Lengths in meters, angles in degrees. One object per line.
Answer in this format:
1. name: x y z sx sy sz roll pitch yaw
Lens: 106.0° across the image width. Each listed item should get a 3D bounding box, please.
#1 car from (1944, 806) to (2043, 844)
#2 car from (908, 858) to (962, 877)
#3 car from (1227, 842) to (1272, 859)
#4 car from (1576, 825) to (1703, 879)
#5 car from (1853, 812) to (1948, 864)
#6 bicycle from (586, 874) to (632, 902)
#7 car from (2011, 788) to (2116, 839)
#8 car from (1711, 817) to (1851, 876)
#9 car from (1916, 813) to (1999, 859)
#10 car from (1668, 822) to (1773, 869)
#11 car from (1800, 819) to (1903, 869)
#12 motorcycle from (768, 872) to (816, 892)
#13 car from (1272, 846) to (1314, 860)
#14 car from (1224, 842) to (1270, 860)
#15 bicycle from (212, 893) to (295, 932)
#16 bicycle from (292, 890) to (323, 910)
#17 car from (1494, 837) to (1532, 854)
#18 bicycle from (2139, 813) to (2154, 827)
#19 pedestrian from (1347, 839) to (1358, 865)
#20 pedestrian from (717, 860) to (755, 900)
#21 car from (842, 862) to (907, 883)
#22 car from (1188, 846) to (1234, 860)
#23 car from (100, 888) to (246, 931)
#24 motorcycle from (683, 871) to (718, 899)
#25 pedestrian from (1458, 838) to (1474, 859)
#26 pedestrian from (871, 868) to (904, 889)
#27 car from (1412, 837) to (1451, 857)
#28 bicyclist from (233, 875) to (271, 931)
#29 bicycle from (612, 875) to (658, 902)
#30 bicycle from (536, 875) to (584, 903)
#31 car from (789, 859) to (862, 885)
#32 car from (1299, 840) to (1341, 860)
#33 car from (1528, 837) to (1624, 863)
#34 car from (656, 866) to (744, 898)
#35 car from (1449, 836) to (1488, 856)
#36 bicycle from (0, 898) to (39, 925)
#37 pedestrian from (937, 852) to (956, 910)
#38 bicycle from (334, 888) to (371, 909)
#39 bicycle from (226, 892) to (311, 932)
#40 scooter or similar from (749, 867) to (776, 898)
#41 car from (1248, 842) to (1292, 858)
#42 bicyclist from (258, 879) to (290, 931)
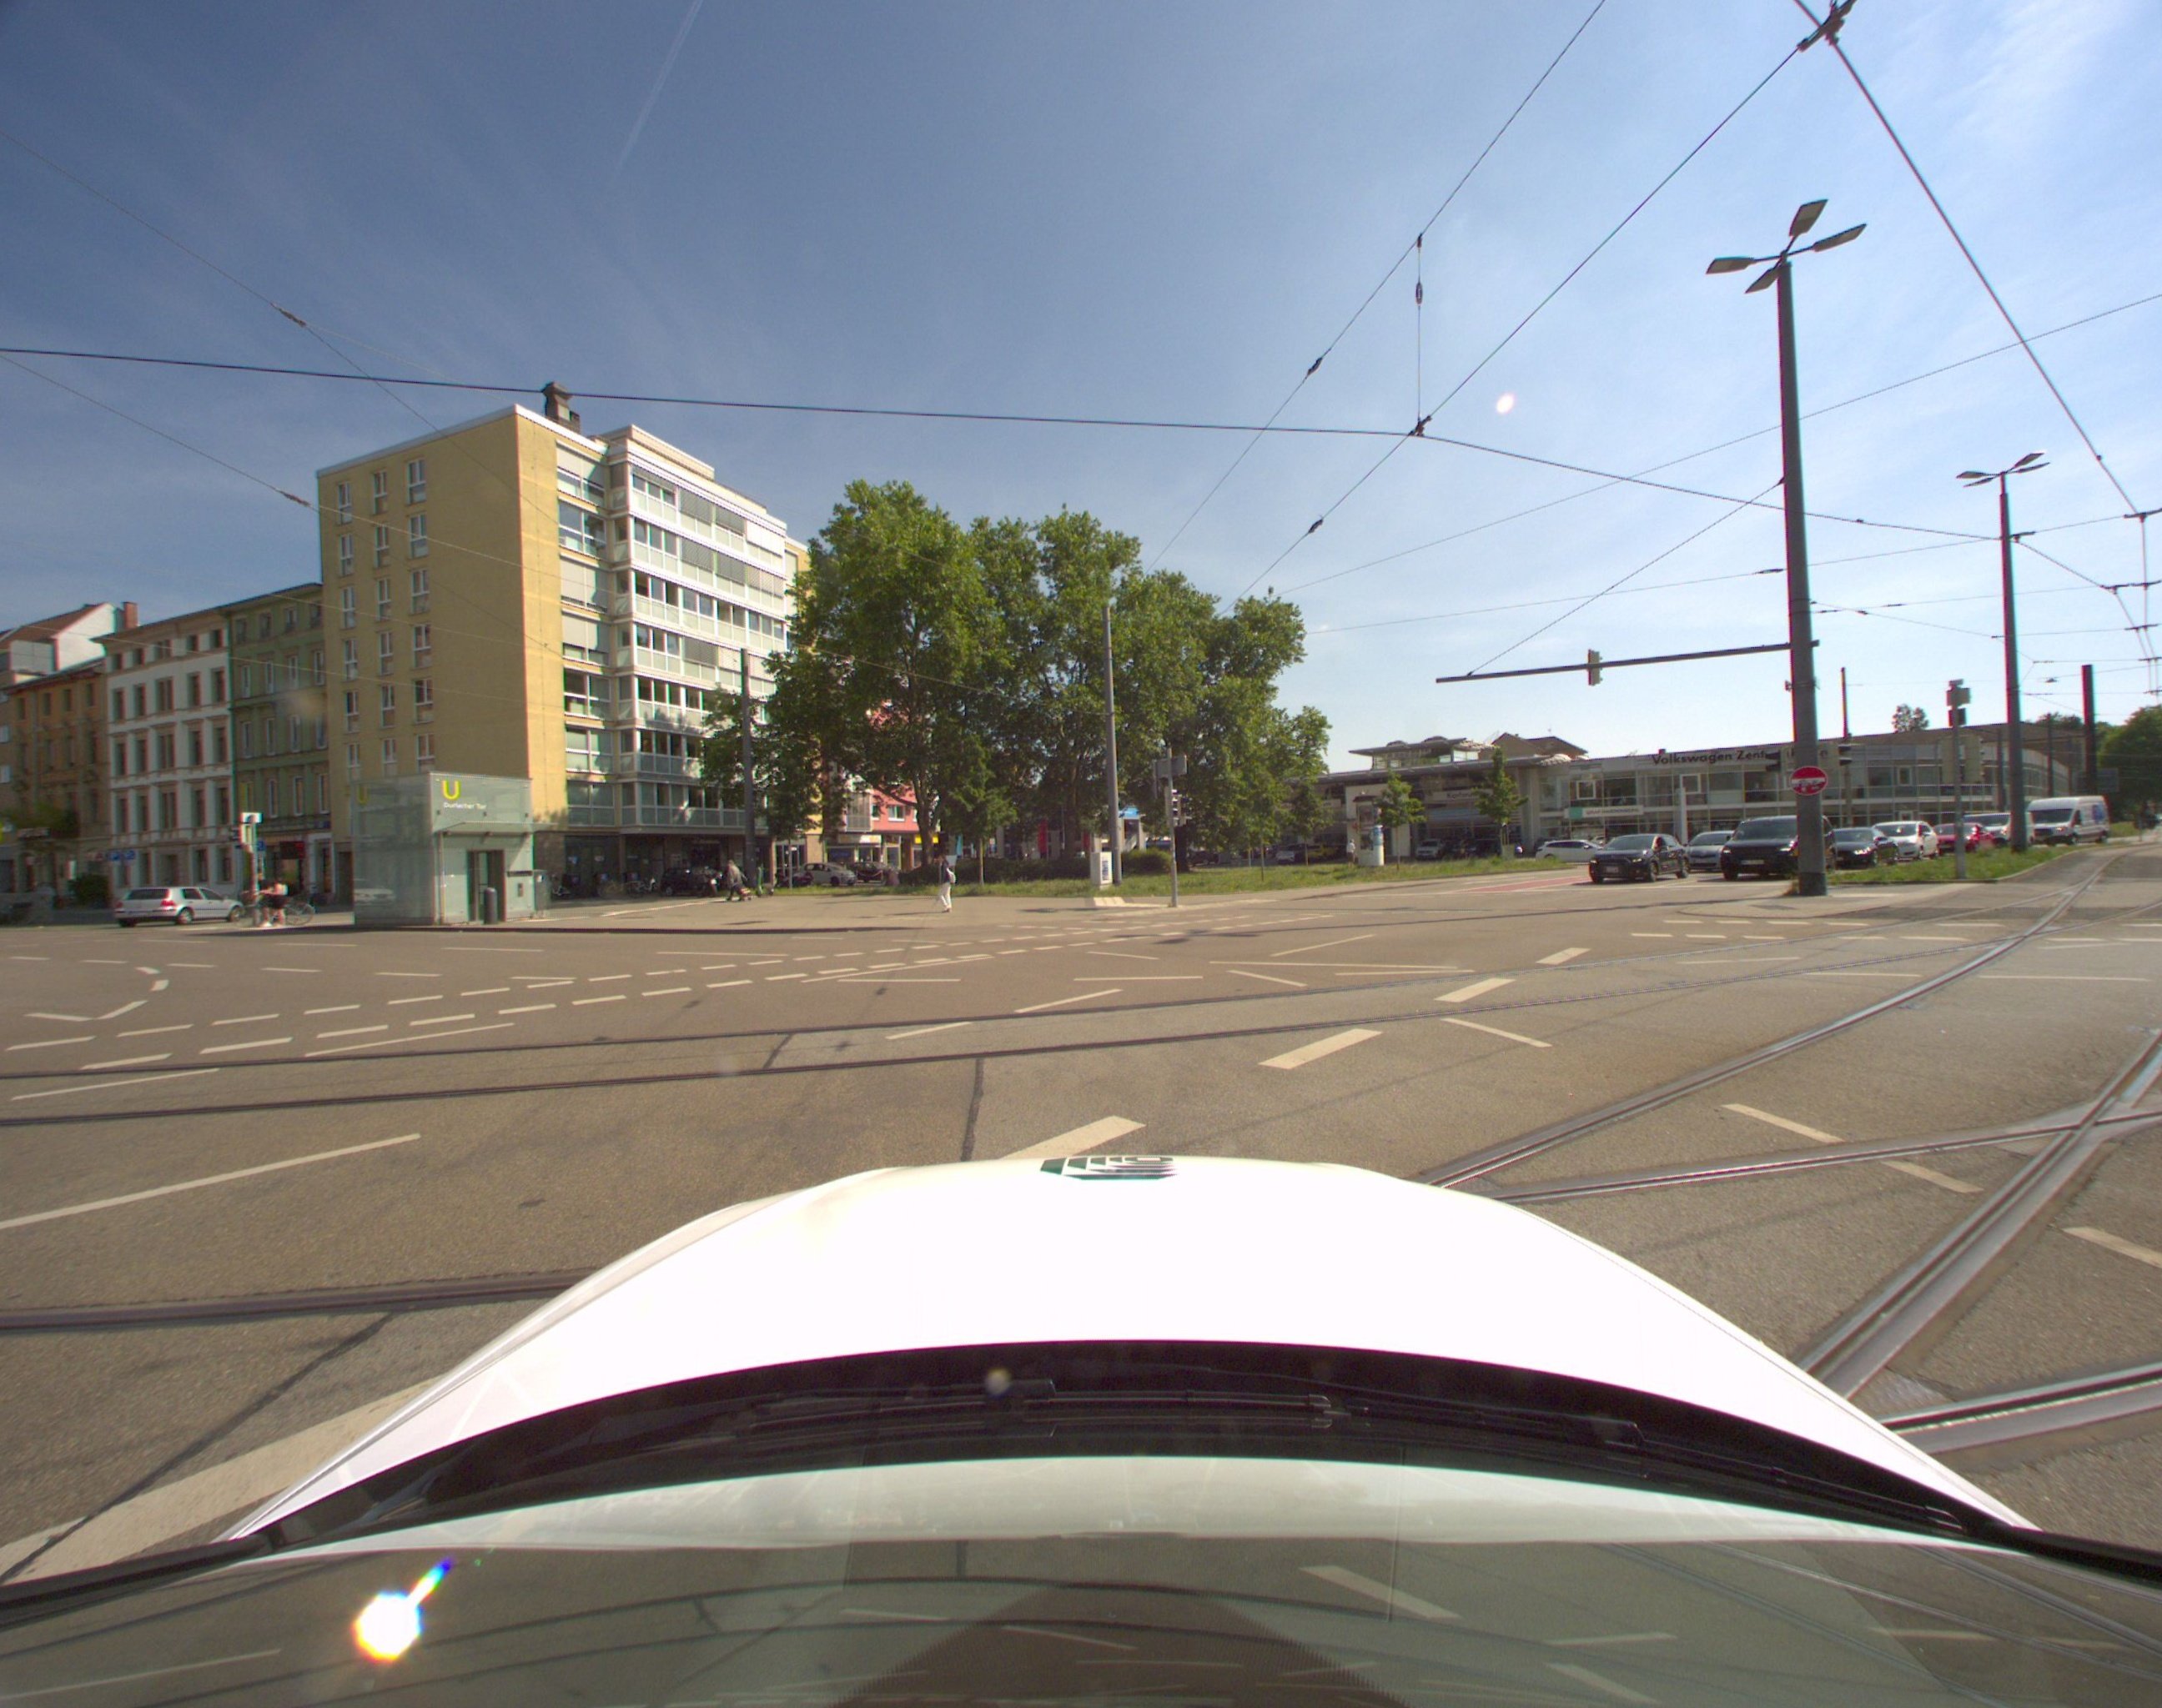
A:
1. car: 45.330 -1.445 40.423 5.043 1.680 2.172 -2 0 -29
2. car: -11.082 0.979 61.885 3.690 1.340 1.753 0 1 22
3. car: 17.128 -0.338 82.822 3.948 1.508 2.013 -2 0 37
4. car: 17.708 -0.054 25.776 4.227 1.588 1.878 -1 -1 -34
5. car: 32.606 -0.612 32.374 4.217 1.917 1.880 -1 -1 -34
6. bicycle: -22.150 1.573 38.237 0.576 1.219 1.768 -2 0 32
7. car: 52.615 -2.103 43.613 5.884 2.575 2.198 0 1 -25
8. car: 20.744 -0.195 24.086 4.735 1.588 1.946 -1 -1 -34
9. car: 38.780 -0.773 36.009 4.217 1.917 1.880 -1 -1 -34
10. car: 23.494 -0.298 29.894 4.016 1.588 1.880 -1 -1 -34
11. car: 26.453 -0.311 27.930 4.018 1.588 1.879 -1 -1 -37
12. motorcycle: -13.306 1.286 37.576 2.037 0.842 0.637 -2 0 -18
13. car: 18.949 -0.109 72.673 1.975 1.244 4.024 1 1 44
14. car: 16.282 -0.298 80.040 3.948 1.552 2.013 -2 0 37
15. bicycle: -26.735 1.875 26.360 0.578 1.130 1.804 -3 -1 16
16. bicycle: -40.883 2.453 43.034 1.759 0.964 0.416 -3 2 20
17. car: 32.207 -0.642 60.702 1.813 1.195 4.026 1 1 38
18. bicycle: 92.575 -2.960 70.776 2.852 1.194 0.746 -1 1 -38
19. pedestrian: 16.359 -0.119 49.095 0.465 1.595 0.390 0 1 -27
20. pedestrian: -12.578 0.940 29.701 1.105 1.404 0.660 0 1 17
21. car: -13.777 1.194 54.295 3.952 1.270 1.753 0 1 22
22. car: 12.603 -0.110 79.095 3.949 1.371 2.013 1 1 39
23. car: -33.913 2.027 30.595 1.812 1.440 3.976 -1 -2 -17
24. motorcycle: -15.390 1.247 32.932 0.644 1.062 2.013 -2 0 -43
25. pedestrian: 28.474 -0.399 60.200 0.944 1.580 0.538 0 1 36
26. pedestrian: -8.880 1.124 37.363 1.162 0.892 0.827 -2 0 20
27. car: 27.891 -0.579 64.776 1.974 1.486 4.026 0 1 37
28. bicyclist: -26.664 1.569 26.208 0.578 1.735 0.620 -3 -1 16
29. bicycle: -20.847 1.604 38.091 0.576 1.085 1.768 -2 1 32
30. bicycle: -24.469 1.640 38.287 0.535 1.186 1.901 -2 0 24
31. car: -15.760 1.093 50.190 3.952 1.440 1.901 0 1 22
32. car: 21.005 -0.379 71.501 1.975 1.684 4.024 1 1 44
33. car: 28.750 -0.247 47.432 1.451 1.436 4.548 -1 1 -37
34. car: -19.027 1.418 40.668 4.044 1.471 1.668 -2 -3 22
35. car: 30.007 -0.609 63.007 1.974 1.486 4.026 0 1 37
36. bicycle: -46.700 2.515 35.313 0.590 1.094 1.757 -1 0 22
37. pedestrian: -3.820 0.757 23.082 0.451 1.605 0.400 0 1 3
38. bicycle: -37.121 2.271 41.479 1.759 0.964 0.587 -3 2 21
39. bicycle: -25.452 1.805 25.530 0.745 1.130 1.808 -3 -1 39
40. scooter or similar: -12.192 1.077 31.152 0.520 1.119 1.348 -2 0 -41
41. car: 19.625 -0.419 84.641 3.948 1.508 2.013 -2 0 37
42. bicyclist: -25.333 1.589 25.563 0.723 1.572 0.617 -3 -1 40
